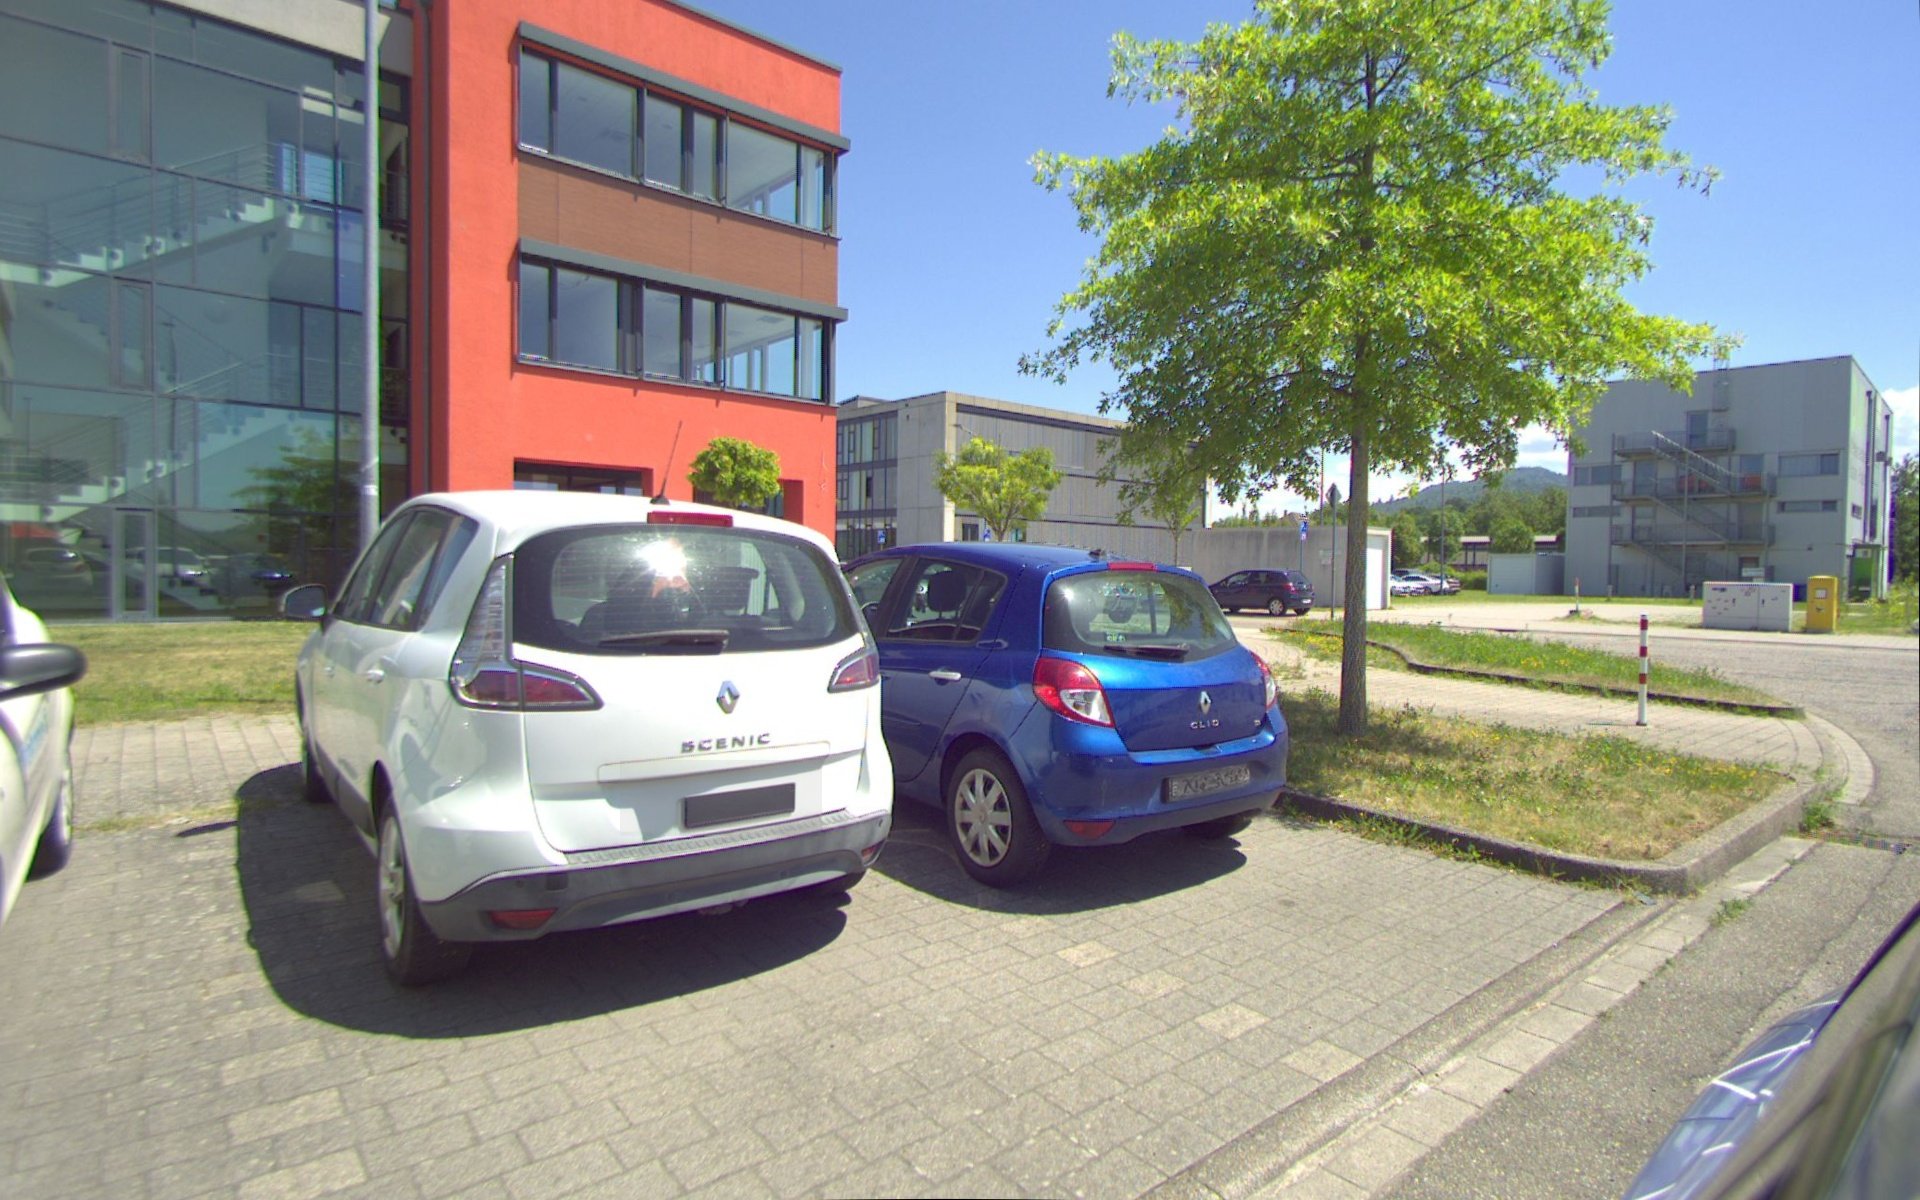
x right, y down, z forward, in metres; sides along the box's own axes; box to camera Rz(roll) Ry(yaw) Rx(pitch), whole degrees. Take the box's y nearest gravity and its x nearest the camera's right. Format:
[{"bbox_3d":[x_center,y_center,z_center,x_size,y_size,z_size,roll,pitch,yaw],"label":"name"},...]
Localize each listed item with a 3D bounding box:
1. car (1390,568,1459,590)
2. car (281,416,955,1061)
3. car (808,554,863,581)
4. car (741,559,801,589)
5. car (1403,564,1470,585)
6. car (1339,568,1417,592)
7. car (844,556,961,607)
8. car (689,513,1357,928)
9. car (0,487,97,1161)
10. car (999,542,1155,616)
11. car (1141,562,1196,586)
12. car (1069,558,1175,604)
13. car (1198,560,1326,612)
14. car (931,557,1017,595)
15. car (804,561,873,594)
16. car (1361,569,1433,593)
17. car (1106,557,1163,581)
[{"bbox_3d":[32.317,-1.501,70.502,1.630,1.442,4.051,-1,3,-41],"label":"car"},{"bbox_3d":[-1.984,0.259,4.782,1.741,1.670,4.122,0,3,-38],"label":"car"},{"bbox_3d":[-7.609,-2.024,62.135,1.643,1.487,3.597,1,4,27],"label":"car"},{"bbox_3d":[-10.415,-1.460,55.651,1.631,1.487,3.623,-4,5,-41],"label":"car"},{"bbox_3d":[34.419,-1.843,73.210,1.630,1.404,4.051,-1,3,-41],"label":"car"},{"bbox_3d":[27.002,-1.326,65.456,1.680,1.484,4.365,-1,3,-41],"label":"car"},{"bbox_3d":[-1.905,-0.627,32.704,1.757,1.460,3.700,3,0,-43],"label":"car"},{"bbox_3d":[-0.014,0.325,5.932,1.695,1.508,4.011,0,5,-36],"label":"car"},{"bbox_3d":[-3.471,0.410,2.705,1.581,1.481,3.629,0,4,-38],"label":"car"},{"bbox_3d":[3.070,-0.572,27.167,1.778,1.797,3.995,2,0,-40],"label":"car"},{"bbox_3d":[14.626,-1.842,71.164,1.630,1.518,3.624,-4,4,-40],"label":"car"},{"bbox_3d":[5.861,-0.738,36.876,1.632,1.518,3.621,-4,5,-43],"label":"car"},{"bbox_3d":[9.671,-0.507,32.586,1.655,1.518,3.623,-4,5,-41],"label":"car"},{"bbox_3d":[0.550,-1.056,42.630,1.631,1.487,3.623,-4,5,-41],"label":"car"},{"bbox_3d":[-6.094,-1.168,50.619,1.631,1.487,3.623,-4,5,-41],"label":"car"},{"bbox_3d":[28.867,-1.290,66.972,1.630,1.484,4.051,-1,3,-41],"label":"car"},{"bbox_3d":[11.646,-2.080,67.643,1.630,1.518,3.624,-4,4,-40],"label":"car"}]
